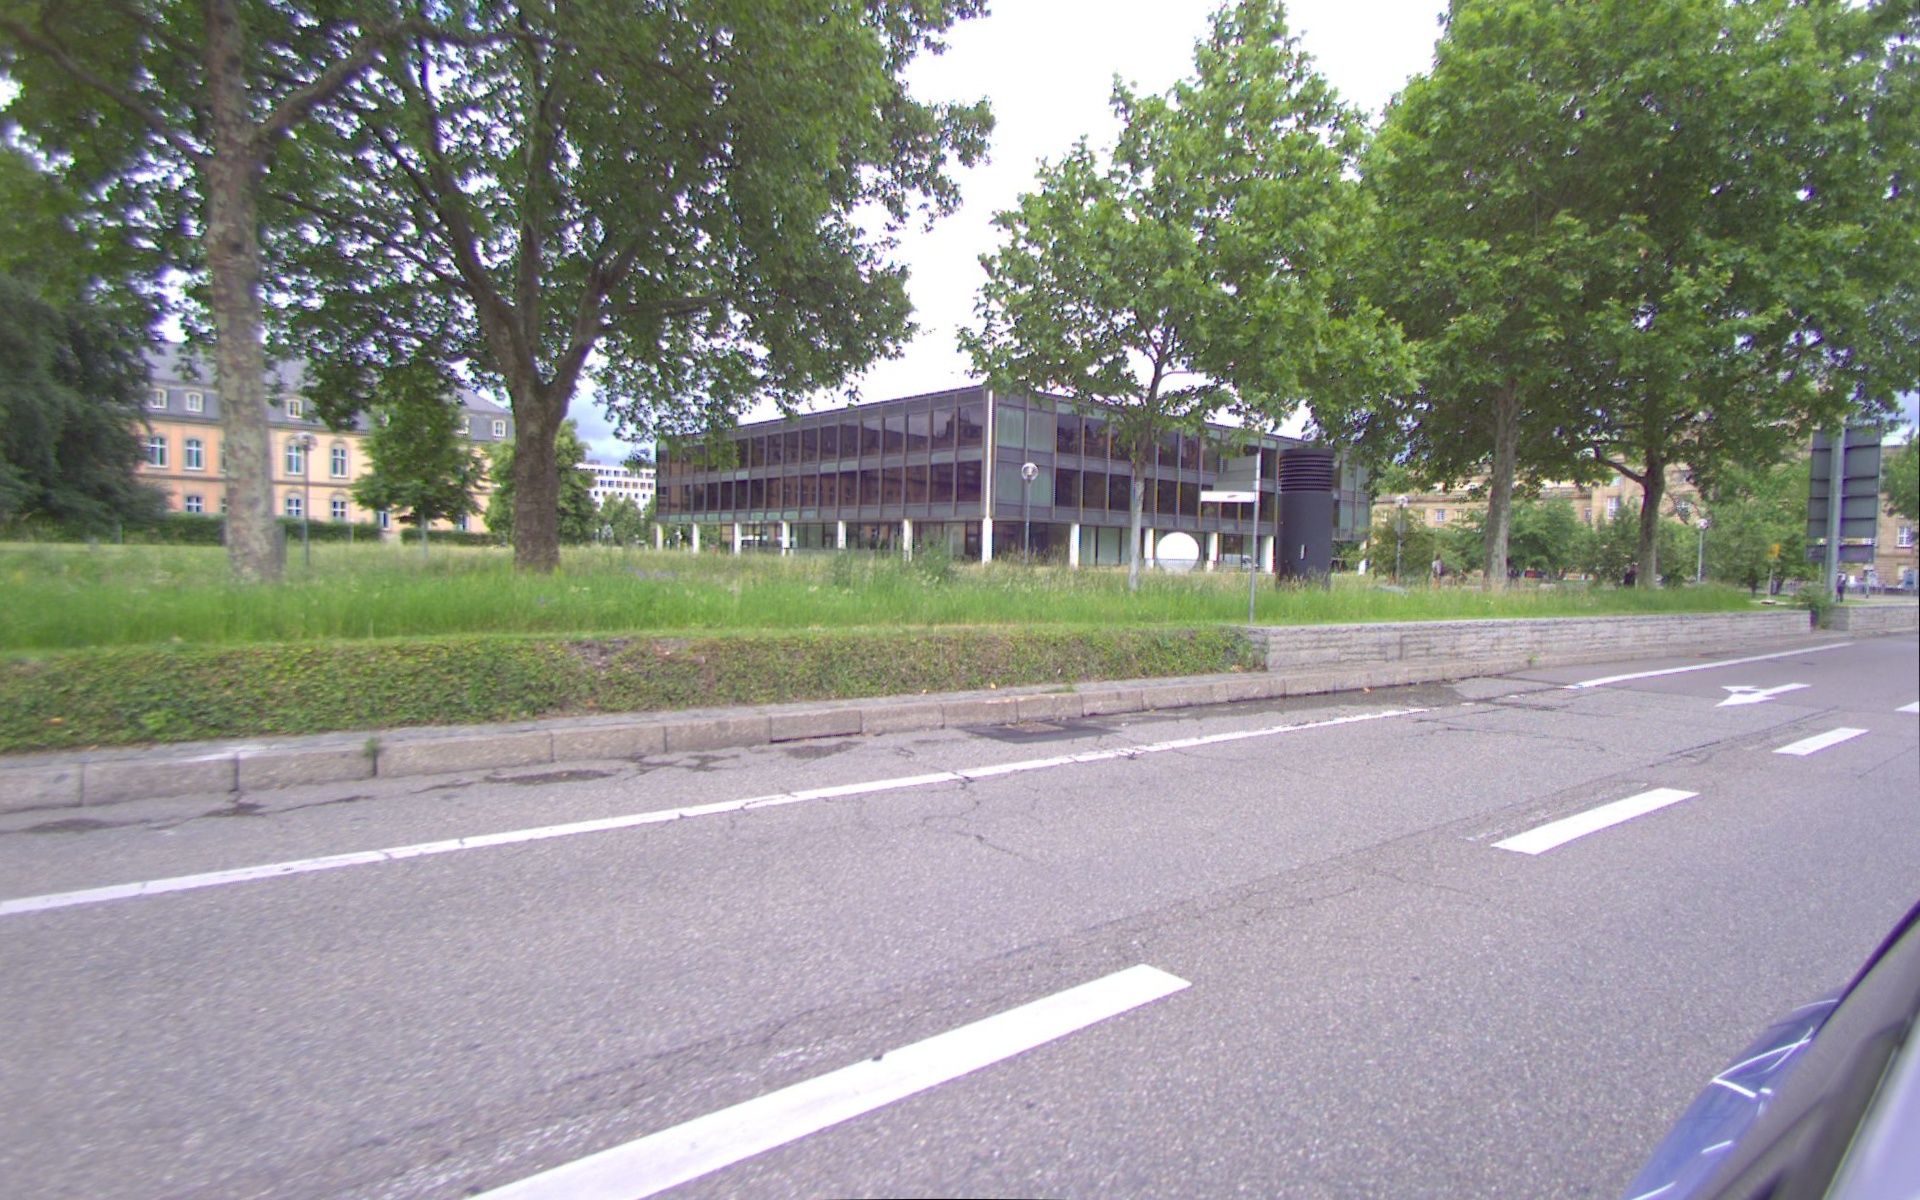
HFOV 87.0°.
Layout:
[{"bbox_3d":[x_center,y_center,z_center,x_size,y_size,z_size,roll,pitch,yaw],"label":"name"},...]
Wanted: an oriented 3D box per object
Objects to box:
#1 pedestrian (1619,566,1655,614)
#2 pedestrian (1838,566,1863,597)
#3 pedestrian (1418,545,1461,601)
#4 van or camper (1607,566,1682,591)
[{"bbox_3d":[25.412,-0.377,37.976,0.951,1.754,0.898,0,0,-39],"label":"pedestrian"},{"bbox_3d":[47.794,-1.007,54.301,0.614,1.646,0.805,1,2,-32],"label":"pedestrian"},{"bbox_3d":[16.511,-0.923,34.856,1.010,1.859,0.999,-1,0,2],"label":"pedestrian"},{"bbox_3d":[67.689,-2.195,100.166,2.279,2.348,5.710,-2,3,-39],"label":"van or camper"}]
